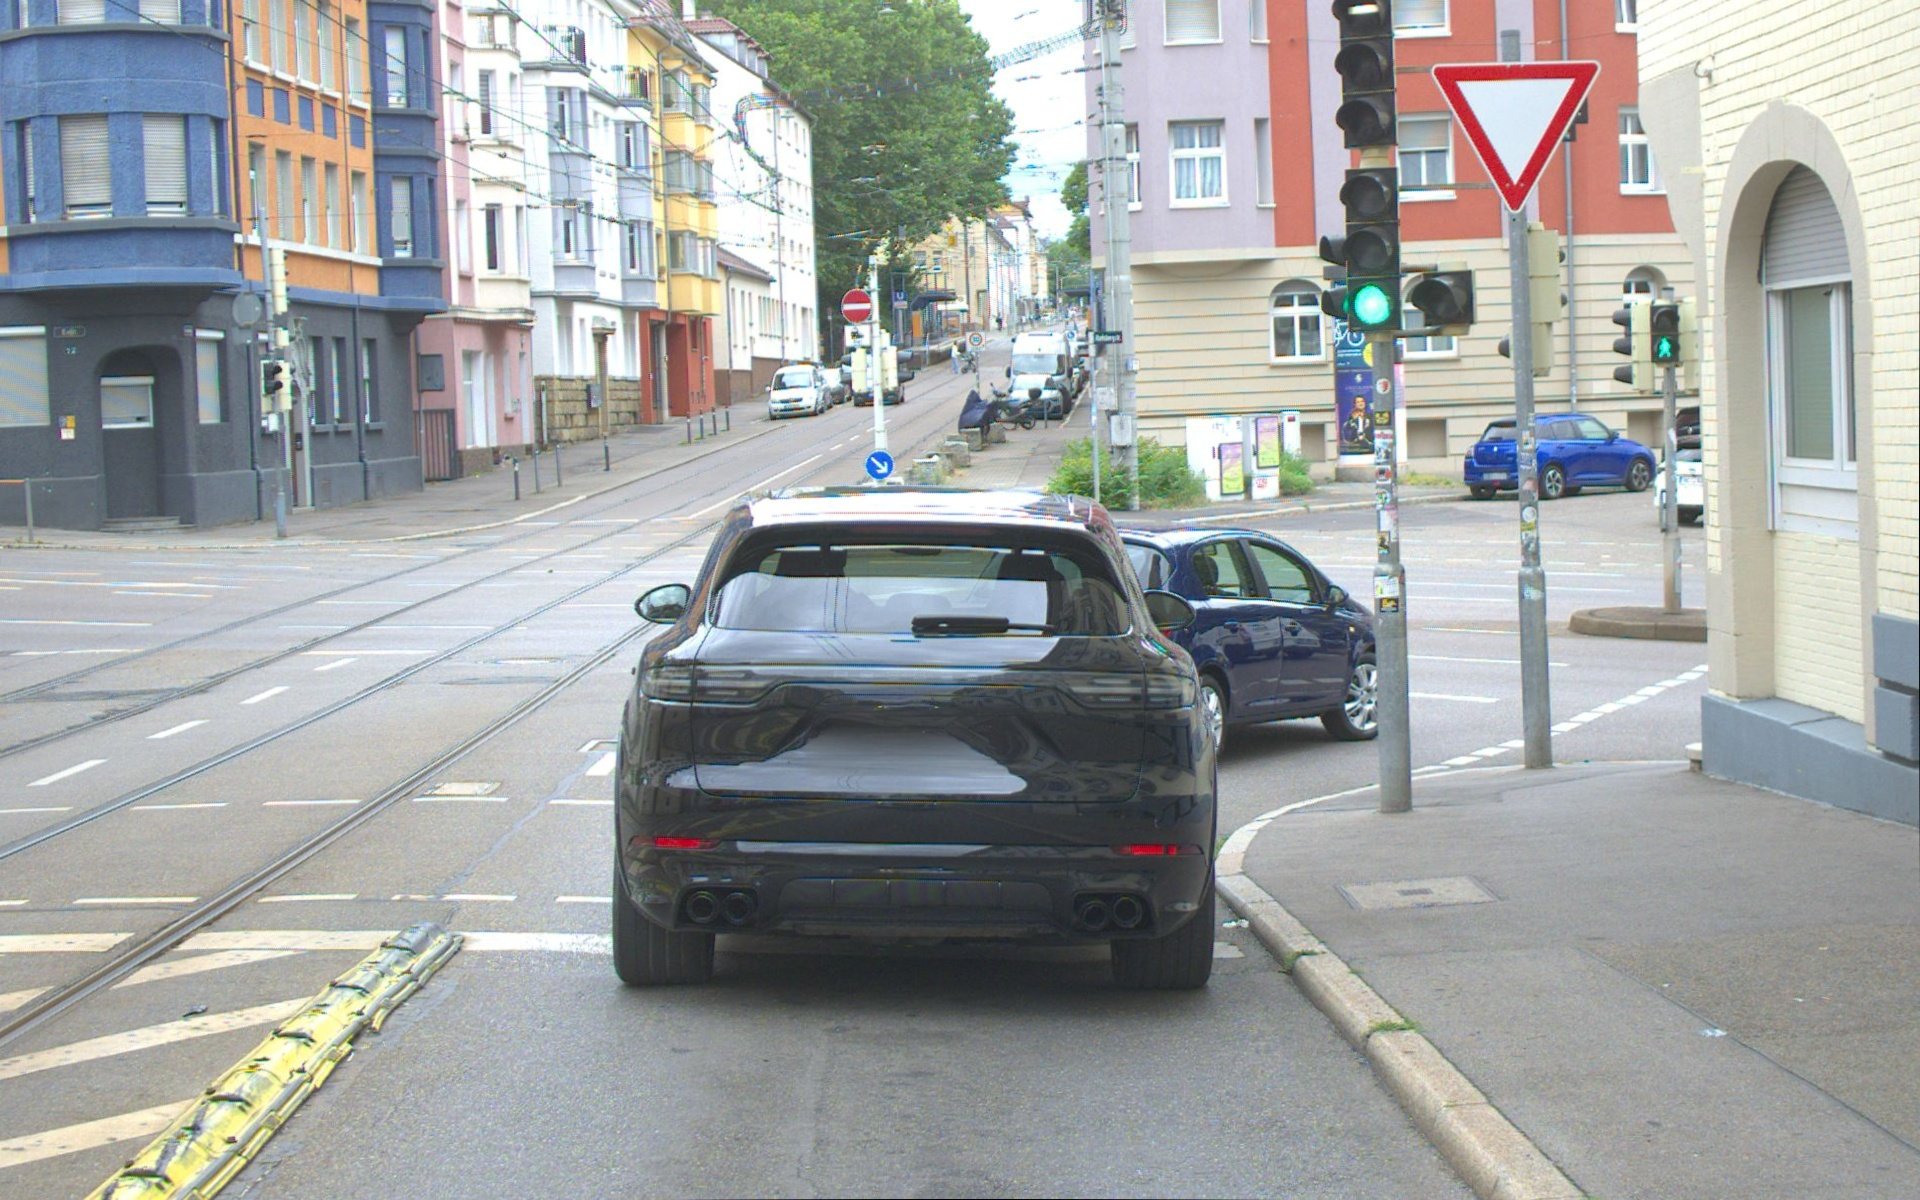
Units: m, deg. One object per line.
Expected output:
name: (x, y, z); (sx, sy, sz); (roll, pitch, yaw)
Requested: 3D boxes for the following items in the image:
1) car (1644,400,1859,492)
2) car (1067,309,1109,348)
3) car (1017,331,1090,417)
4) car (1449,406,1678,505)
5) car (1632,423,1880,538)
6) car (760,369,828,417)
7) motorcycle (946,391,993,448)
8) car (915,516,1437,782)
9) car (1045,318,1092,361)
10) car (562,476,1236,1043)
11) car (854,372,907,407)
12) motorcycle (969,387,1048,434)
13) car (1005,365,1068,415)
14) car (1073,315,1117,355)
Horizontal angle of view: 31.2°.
car: (15.143, -2.970, 65.692); (4.130, 1.529, 1.918); (-6, 7, -40)
car: (7.419, -15.660, 198.445); (2.267, 2.175, 4.769); (1, 4, 4)
car: (3.200, -7.716, 117.326); (2.267, 2.880, 4.769); (1, 4, 4)
car: (10.899, -2.627, 61.939); (4.130, 1.529, 1.918); (-6, 7, -41)
car: (12.614, -1.922, 54.368); (4.131, 1.529, 1.917); (-6, 8, -44)
car: (-5.956, -7.461, 123.587); (1.994, 1.686, 4.000); (1, 4, 4)
motorcycle: (0.239, -4.627, 87.909); (0.859, 1.321, 2.185); (-7, 5, -5)
car: (1.473, 0.234, 22.100); (1.758, 1.442, 3.745); (4, 4, 31)
car: (5.623, -13.443, 177.787); (2.267, 2.175, 4.769); (1, 4, 4)
car: (-0.063, 0.402, 12.591); (2.024, 1.636, 4.356); (1, 3, 3)
car: (-3.016, -8.003, 130.559); (1.686, 1.322, 3.662); (1, 4, 4)
motorcycle: (1.382, -5.435, 98.427); (2.176, 1.322, 0.700); (0, 4, -6)
car: (2.501, -6.825, 111.621); (1.840, 1.563, 3.819); (1, 4, 4)
car: (7.547, -14.770, 192.073); (2.267, 2.175, 4.769); (1, 4, 4)
